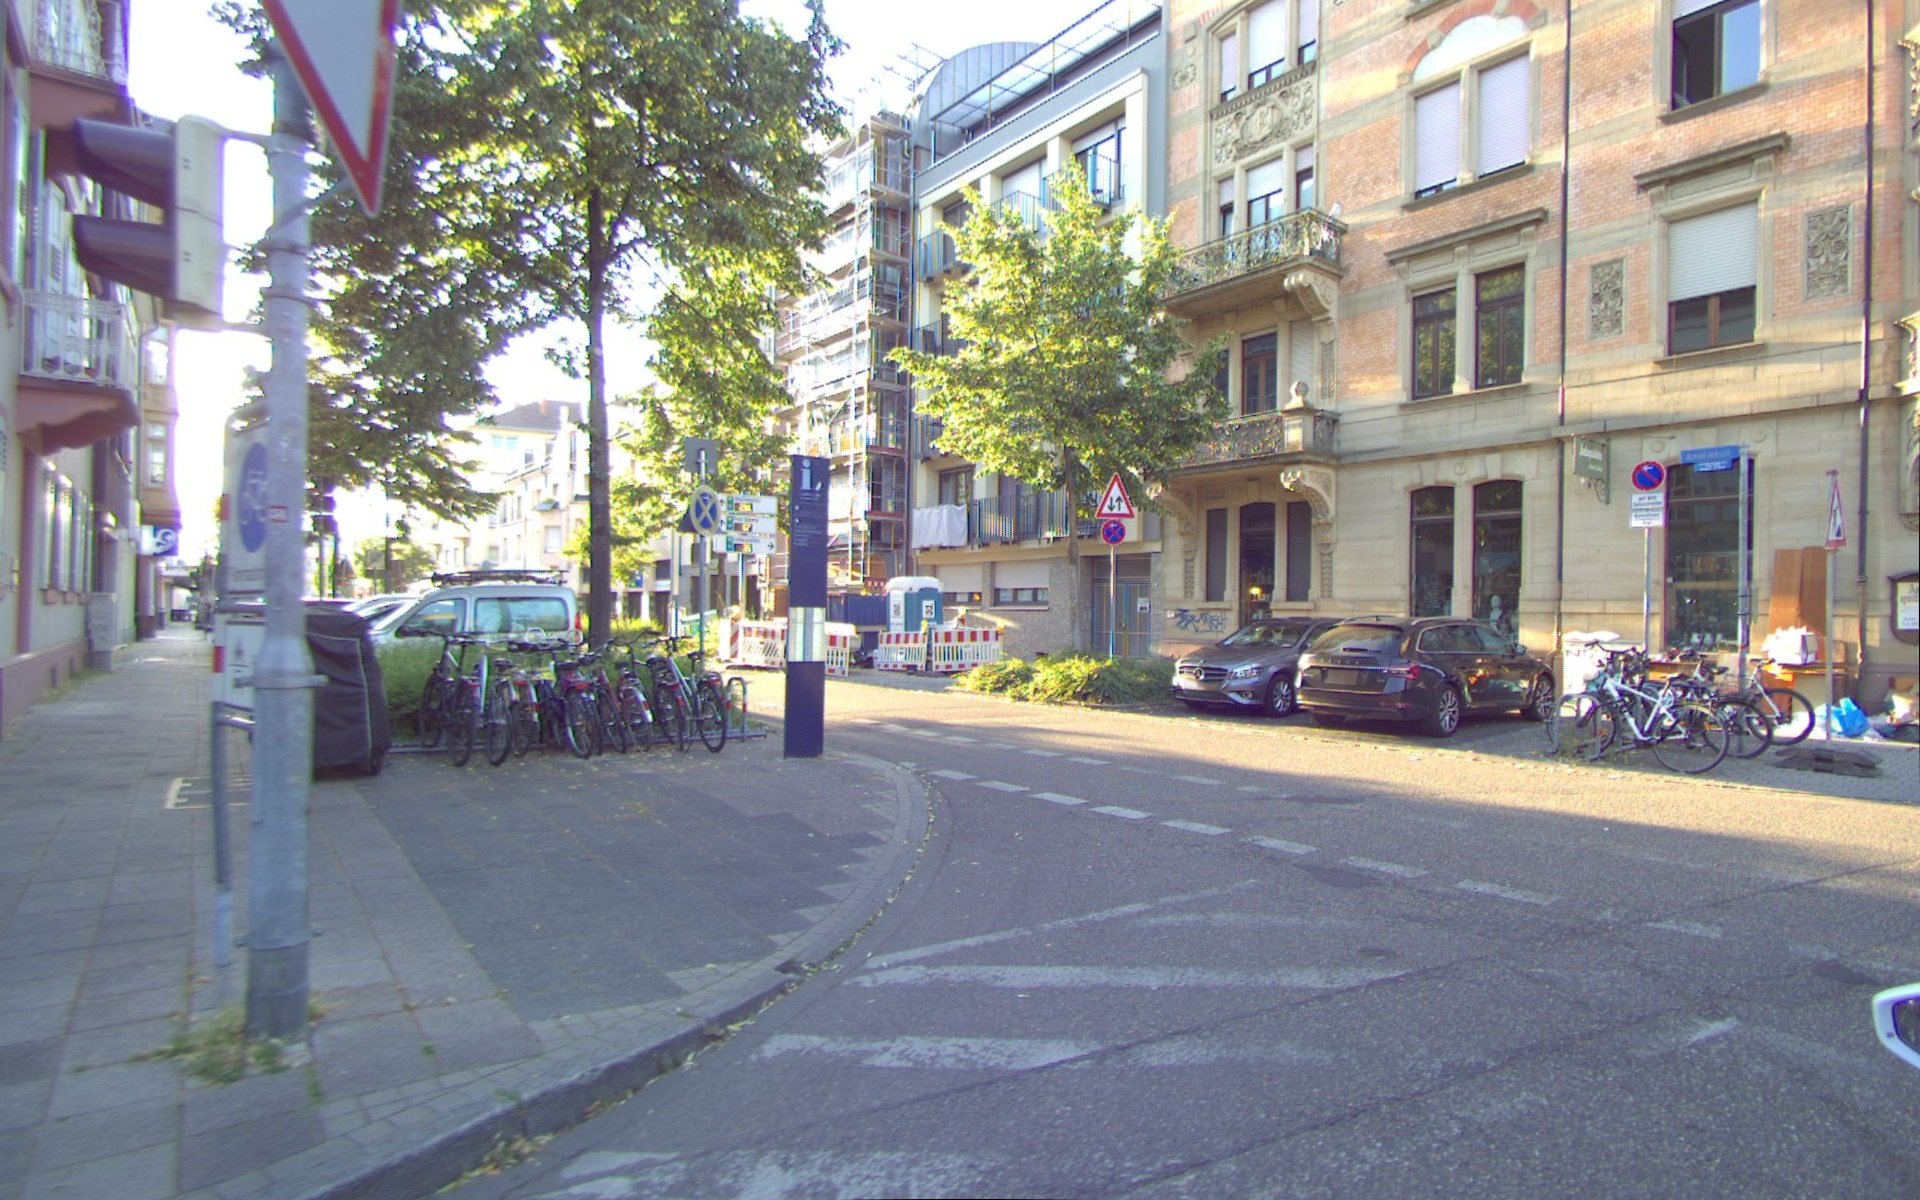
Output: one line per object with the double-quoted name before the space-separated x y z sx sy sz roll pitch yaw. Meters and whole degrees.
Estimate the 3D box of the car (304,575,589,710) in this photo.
"car" -7.979 0.634 15.708 3.784 1.874 1.684 1 -1 -34

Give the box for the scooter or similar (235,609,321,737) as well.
"scooter or similar" -7.169 0.725 10.537 0.672 1.238 1.380 1 -1 -37

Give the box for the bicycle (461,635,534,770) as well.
"bicycle" -4.216 0.881 9.107 0.320 1.096 1.581 2 -2 -34

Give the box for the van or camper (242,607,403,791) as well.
"van or camper" -5.072 0.719 8.024 0.934 1.276 1.829 3 -2 -33

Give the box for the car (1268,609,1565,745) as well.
"car" 6.422 0.924 13.913 4.500 1.531 1.891 -1 0 -38

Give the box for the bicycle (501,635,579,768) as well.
"bicycle" -3.911 0.890 9.303 0.338 1.096 1.581 1 -1 -34

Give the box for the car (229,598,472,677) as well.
"car" -12.894 0.772 21.394 4.188 1.536 1.741 2 -1 -41

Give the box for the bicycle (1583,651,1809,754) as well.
"bicycle" 8.710 1.172 11.980 0.634 1.027 2.087 1 -1 -38

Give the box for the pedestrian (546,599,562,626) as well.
"pedestrian" -25.254 0.799 62.457 0.806 1.668 0.599 -1 -1 -38

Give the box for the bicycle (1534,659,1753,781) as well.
"bicycle" 7.063 1.193 10.473 0.565 1.061 1.814 1 0 -34

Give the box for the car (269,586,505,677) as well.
"car" -11.101 0.645 19.554 3.800 1.606 1.724 3 -2 -35

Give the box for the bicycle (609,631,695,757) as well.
"bicycle" -3.136 0.908 10.147 0.328 1.155 1.581 3 -2 -34

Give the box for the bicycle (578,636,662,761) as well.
"bicycle" -3.349 0.921 9.826 0.317 1.096 1.581 3 -2 -34

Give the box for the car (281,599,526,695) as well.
"car" -9.730 0.791 17.705 3.622 1.535 1.634 1 -1 -33

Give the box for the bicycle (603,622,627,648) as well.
"bicycle" -14.905 1.497 43.428 0.380 1.115 1.503 1 -1 -44

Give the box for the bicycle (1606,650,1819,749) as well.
"bicycle" 9.310 1.190 12.523 0.461 1.054 2.087 1 -1 -38

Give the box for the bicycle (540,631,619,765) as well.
"bicycle" -3.627 0.884 9.528 0.310 1.163 1.596 2 -2 -34

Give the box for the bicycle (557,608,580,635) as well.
"bicycle" -16.123 0.881 41.357 0.380 1.115 1.505 1 -1 -40

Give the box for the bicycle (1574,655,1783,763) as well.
"bicycle" 8.031 1.181 11.299 0.634 1.027 1.812 1 -1 -38

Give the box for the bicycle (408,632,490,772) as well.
"bicycle" -4.530 0.851 8.858 0.392 1.096 1.581 4 -2 -34

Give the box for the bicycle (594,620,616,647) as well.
"bicycle" -15.736 1.474 44.493 0.380 1.205 1.505 3 -2 -41

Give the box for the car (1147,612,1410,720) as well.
"car" 5.220 0.953 16.219 4.500 1.499 1.848 0 -1 -38

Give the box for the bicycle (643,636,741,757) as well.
"bicycle" -2.793 0.953 10.365 0.392 1.123 1.696 4 -3 -34
